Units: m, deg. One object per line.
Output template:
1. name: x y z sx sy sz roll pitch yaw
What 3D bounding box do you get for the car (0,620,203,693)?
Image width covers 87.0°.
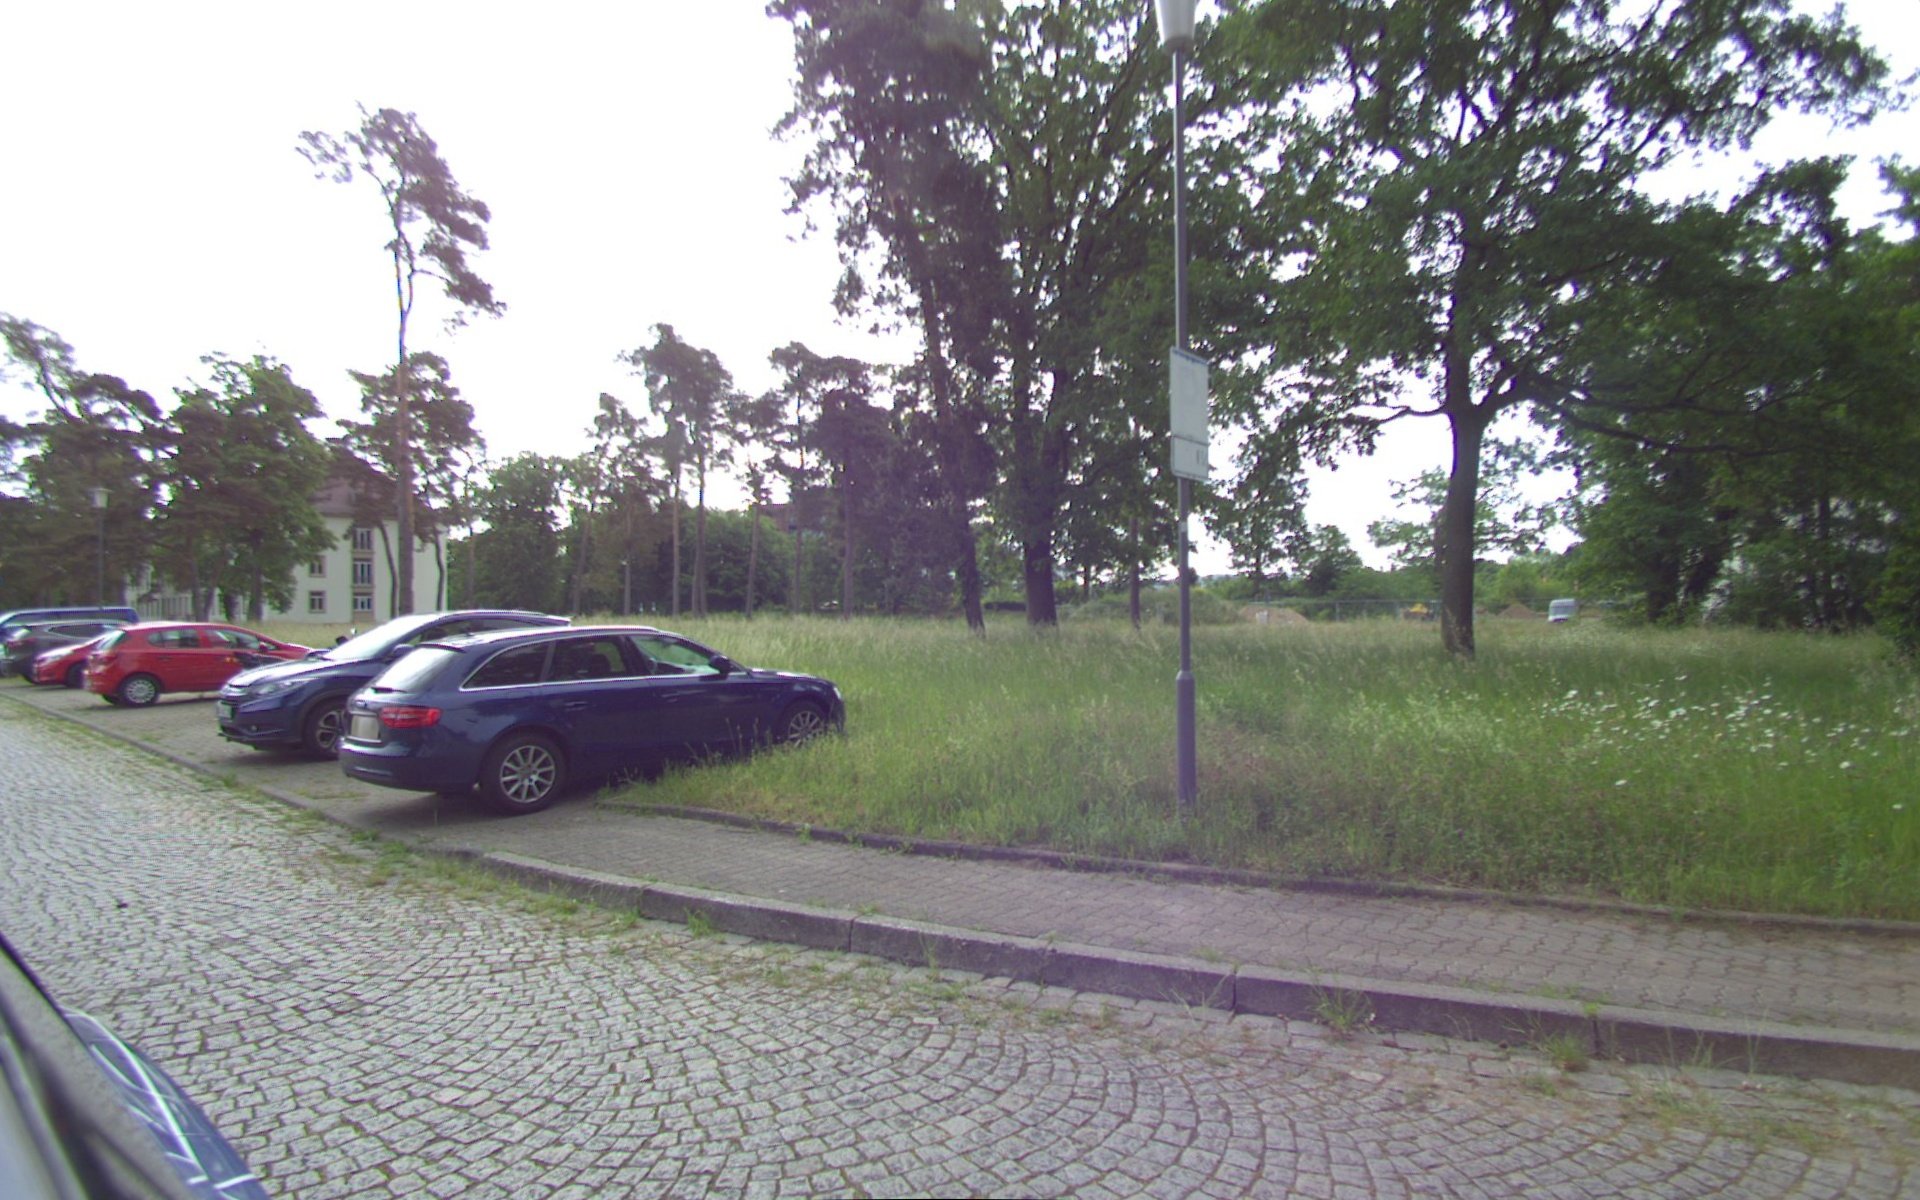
1. car: -22.167 1.391 26.108 1.762 1.557 3.902 -1 1 39

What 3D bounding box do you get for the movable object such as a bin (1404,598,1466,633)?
1. movable object such as a bin: 36.584 1.183 78.102 1.971 2.575 5.350 -1 -1 -3

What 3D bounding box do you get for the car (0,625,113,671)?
1. car: -32.490 1.679 35.580 1.582 1.445 3.902 -1 1 39

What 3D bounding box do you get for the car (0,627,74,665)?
1. car: -37.205 1.821 39.373 1.582 1.349 3.902 -1 1 39

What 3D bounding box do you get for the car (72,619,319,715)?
1. car: -14.420 1.190 19.224 1.601 1.493 3.454 -1 1 39

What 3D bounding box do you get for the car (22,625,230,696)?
1. car: -20.043 1.395 24.432 1.576 1.432 3.616 -1 1 39

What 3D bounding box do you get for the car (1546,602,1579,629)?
1. car: 48.959 1.266 82.226 2.068 2.167 4.843 -1 -1 34

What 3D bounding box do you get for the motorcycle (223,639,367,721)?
1. motorcycle: -10.753 1.267 16.439 0.549 1.202 1.892 -1 -1 35

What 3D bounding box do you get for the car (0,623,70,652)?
1. car: -48.475 1.953 51.998 1.582 1.349 3.902 -1 1 39

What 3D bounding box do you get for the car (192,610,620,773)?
1. car: -6.642 0.961 12.553 1.762 1.574 4.308 -1 0 39

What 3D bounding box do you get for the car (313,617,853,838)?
1. car: -3.200 0.939 9.274 1.764 1.415 4.293 -1 0 43

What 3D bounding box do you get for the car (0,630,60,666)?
1. car: -39.293 1.976 41.101 1.582 1.349 3.902 -1 1 39

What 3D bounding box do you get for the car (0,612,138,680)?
1. car: -28.924 1.424 31.826 1.791 1.916 4.486 -1 1 39

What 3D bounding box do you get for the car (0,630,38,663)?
1. car: -42.727 2.077 43.835 1.582 1.349 3.902 -1 1 39

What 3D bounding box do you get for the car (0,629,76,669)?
1. car: -35.180 1.836 37.141 1.582 1.349 3.902 -1 1 39

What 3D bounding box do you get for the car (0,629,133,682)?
1. car: -27.102 1.640 30.069 1.582 1.349 3.647 -1 1 39

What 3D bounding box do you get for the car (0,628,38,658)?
1. car: -46.423 2.082 47.903 1.582 1.349 3.902 -1 1 39

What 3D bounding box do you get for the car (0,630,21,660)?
1. car: -45.391 2.111 45.931 1.582 1.349 3.902 -1 1 39
